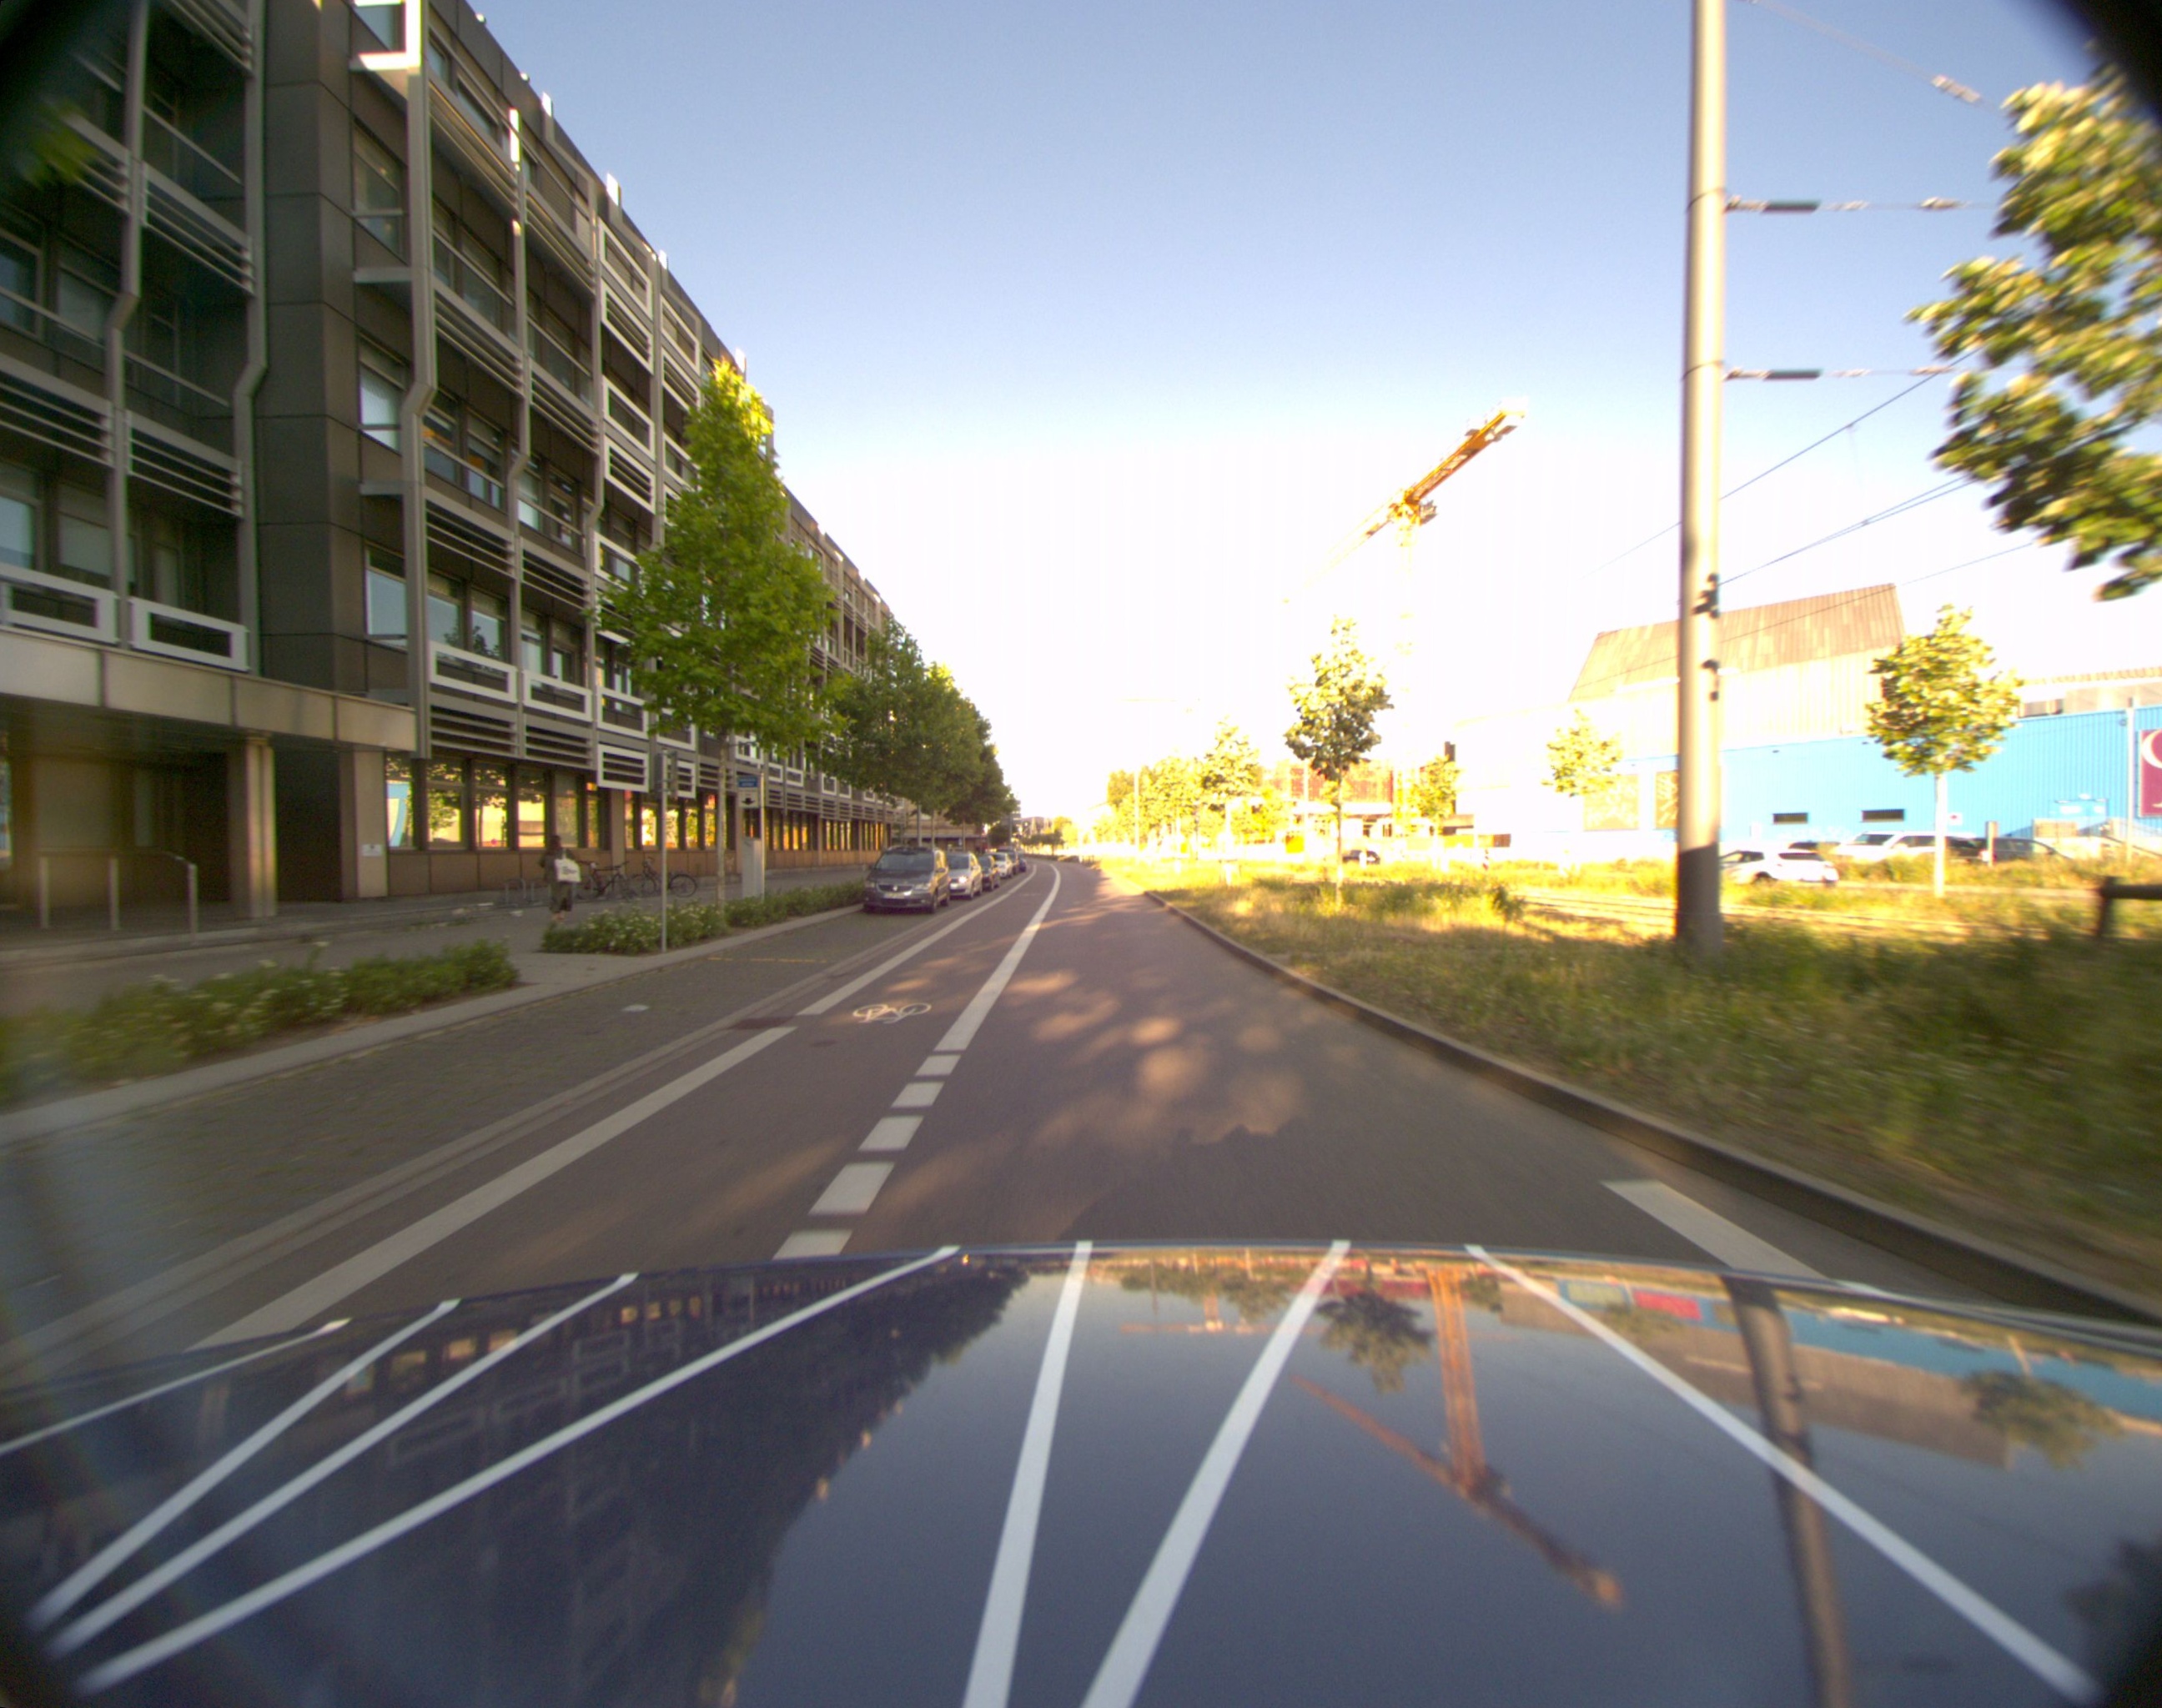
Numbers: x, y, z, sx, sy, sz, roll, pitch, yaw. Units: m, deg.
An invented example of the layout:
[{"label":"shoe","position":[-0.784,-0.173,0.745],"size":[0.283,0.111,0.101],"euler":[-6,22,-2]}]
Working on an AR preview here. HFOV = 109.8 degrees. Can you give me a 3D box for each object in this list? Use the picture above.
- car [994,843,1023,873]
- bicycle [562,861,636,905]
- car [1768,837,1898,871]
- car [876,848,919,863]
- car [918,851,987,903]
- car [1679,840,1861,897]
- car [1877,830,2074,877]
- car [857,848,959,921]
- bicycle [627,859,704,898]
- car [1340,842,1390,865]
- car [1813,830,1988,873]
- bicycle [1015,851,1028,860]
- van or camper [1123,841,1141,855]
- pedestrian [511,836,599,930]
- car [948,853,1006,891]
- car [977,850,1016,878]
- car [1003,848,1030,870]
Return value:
[{"label":"car","position":[-5.030,0.251,52.815],"size":[1.739,1.908,4.392],"euler":[1,0,-3]},{"label":"bicycle","position":[-12.213,0.737,19.262],"size":[1.630,1.076,0.392],"euler":[0,1,2]},{"label":"car","position":[34.441,-0.009,34.880],"size":[3.997,1.476,1.999],"euler":[-1,1,-1]},{"label":"car","position":[-20.186,0.156,83.714],"size":[4.556,1.586,1.861],"euler":[-1,2,-12]},{"label":"car","position":[-4.366,0.717,26.374],"size":[1.732,1.612,4.215],"euler":[1,0,-1]},{"label":"car","position":[21.583,0.390,24.089],"size":[1.999,1.633,4.166],"euler":[-1,1,0]},{"label":"car","position":[34.743,-0.038,29.625],"size":[5.240,1.707,2.124],"euler":[-1,1,-1]},{"label":"car","position":[-4.492,0.715,20.342],"size":[1.732,1.678,4.513],"euler":[1,0,-1]},{"label":"bicycle","position":[-11.802,0.701,21.604],"size":[1.905,1.086,0.392],"euler":[1,1,-5]},{"label":"car","position":[20.876,-0.055,56.058],"size":[1.999,1.641,4.270],"euler":[-1,1,-1]},{"label":"car","position":[34.831,-0.125,32.403],"size":[5.240,1.707,2.124],"euler":[-1,1,-1]},{"label":"bicycle","position":[-7.942,0.232,101.541],"size":[1.758,1.098,0.507],"euler":[2,1,-1]},{"label":"van or camper","position":[9.932,-1.144,148.415],"size":[2.229,2.495,7.196],"euler":[1,0,-7]},{"label":"pedestrian","position":[-9.550,0.509,13.846],"size":[0.791,1.639,1.136],"euler":[0,1,0]},{"label":"car","position":[-4.273,0.704,31.865],"size":[1.799,1.441,4.376],"euler":[1,0,0]},{"label":"car","position":[-4.706,0.510,42.958],"size":[1.668,1.481,4.203],"euler":[1,0,0]},{"label":"car","position":[-5.140,0.378,60.157],"size":[1.937,1.589,4.696],"euler":[1,0,-6]}]
